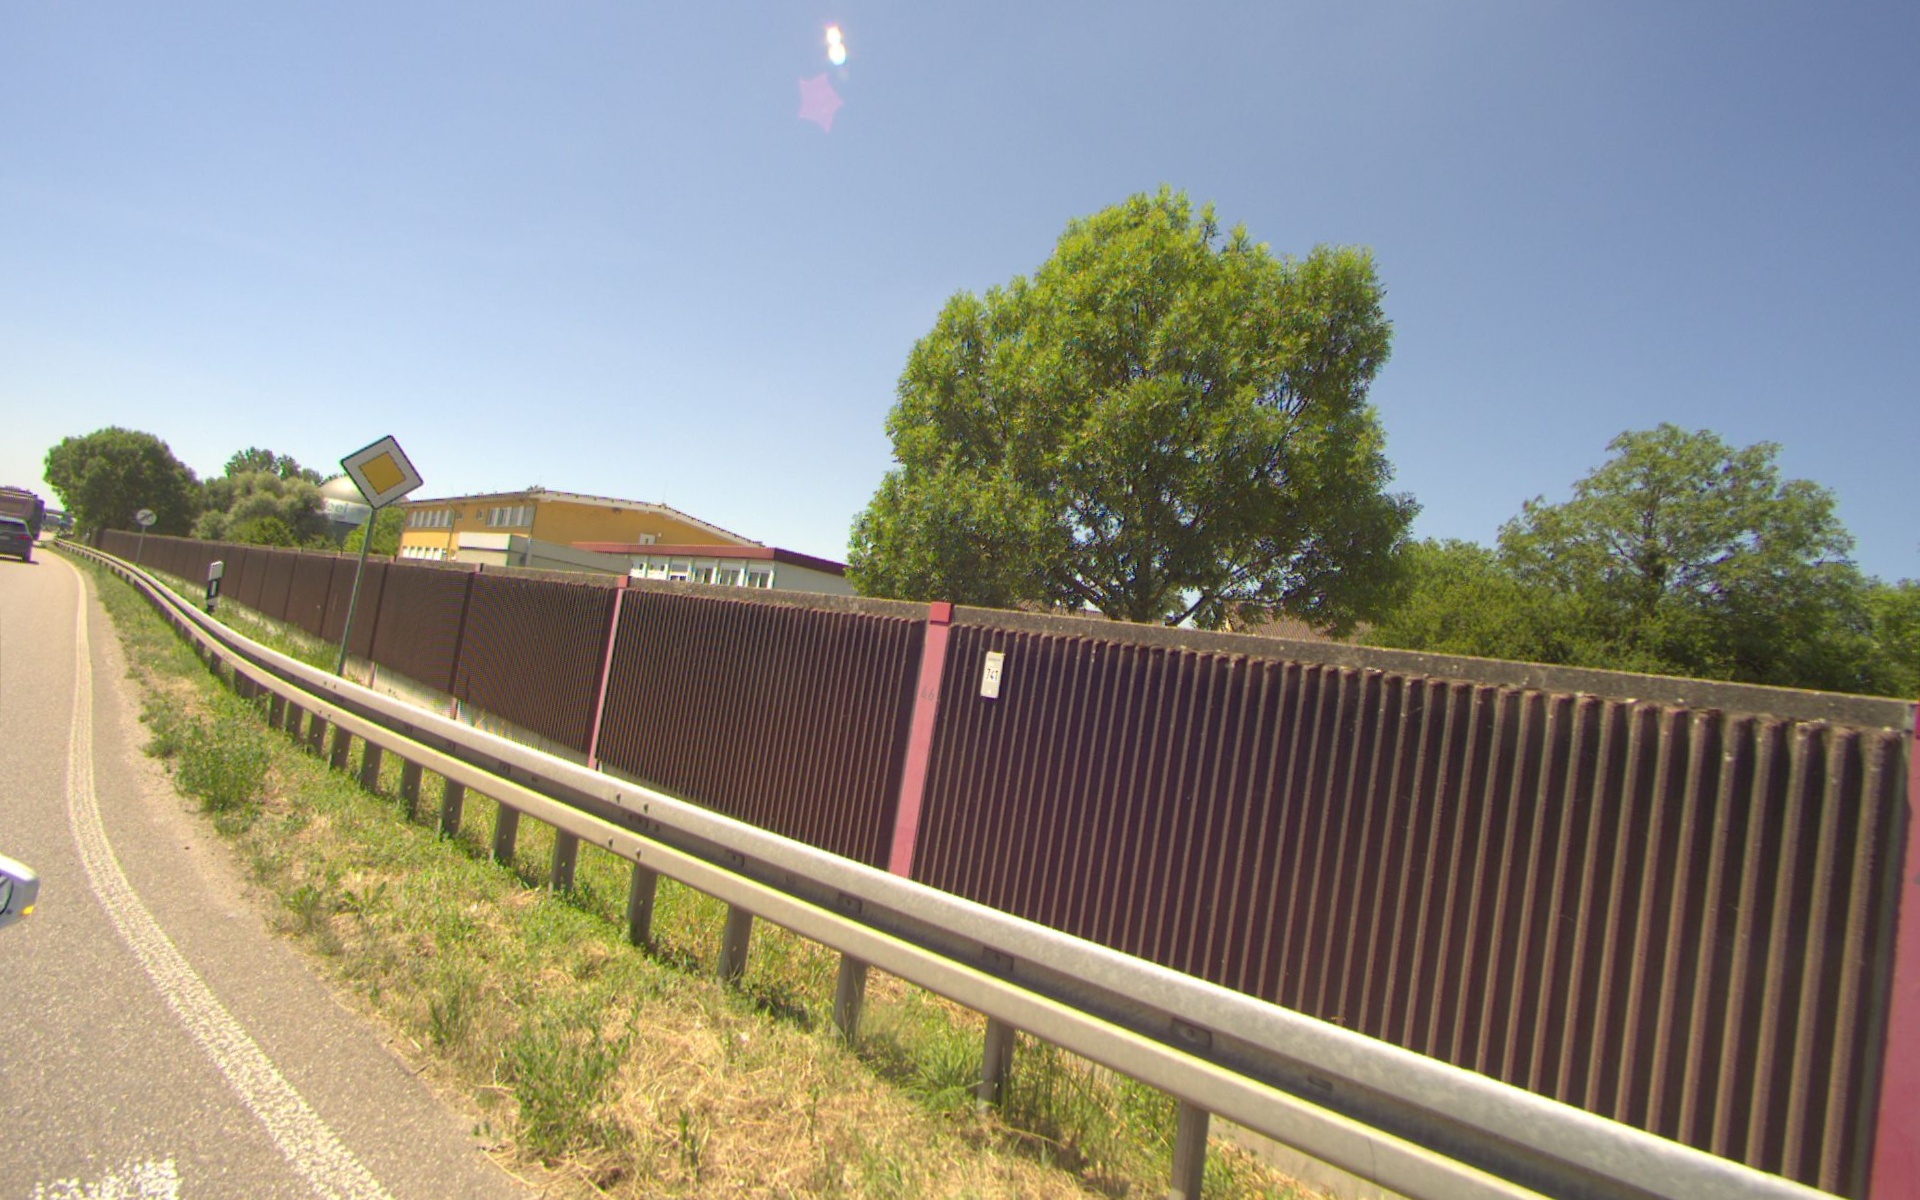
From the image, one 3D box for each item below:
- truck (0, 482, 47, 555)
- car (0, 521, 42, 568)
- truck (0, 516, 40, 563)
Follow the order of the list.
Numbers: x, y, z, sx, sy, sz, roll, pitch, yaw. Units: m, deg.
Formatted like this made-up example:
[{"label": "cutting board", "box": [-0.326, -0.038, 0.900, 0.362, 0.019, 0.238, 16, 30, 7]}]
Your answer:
[{"label": "truck", "box": [-63.692, -5.410, 67.398, 2.990, 4.225, 11.667, 10, -5, -43]}, {"label": "car", "box": [-35.949, -2.133, 37.767, 1.990, 1.518, 3.955, 12, -7, -42]}, {"label": "truck", "box": [-89.321, -5.706, 94.947, 2.990, 3.759, 10.432, 10, -5, -44]}]
